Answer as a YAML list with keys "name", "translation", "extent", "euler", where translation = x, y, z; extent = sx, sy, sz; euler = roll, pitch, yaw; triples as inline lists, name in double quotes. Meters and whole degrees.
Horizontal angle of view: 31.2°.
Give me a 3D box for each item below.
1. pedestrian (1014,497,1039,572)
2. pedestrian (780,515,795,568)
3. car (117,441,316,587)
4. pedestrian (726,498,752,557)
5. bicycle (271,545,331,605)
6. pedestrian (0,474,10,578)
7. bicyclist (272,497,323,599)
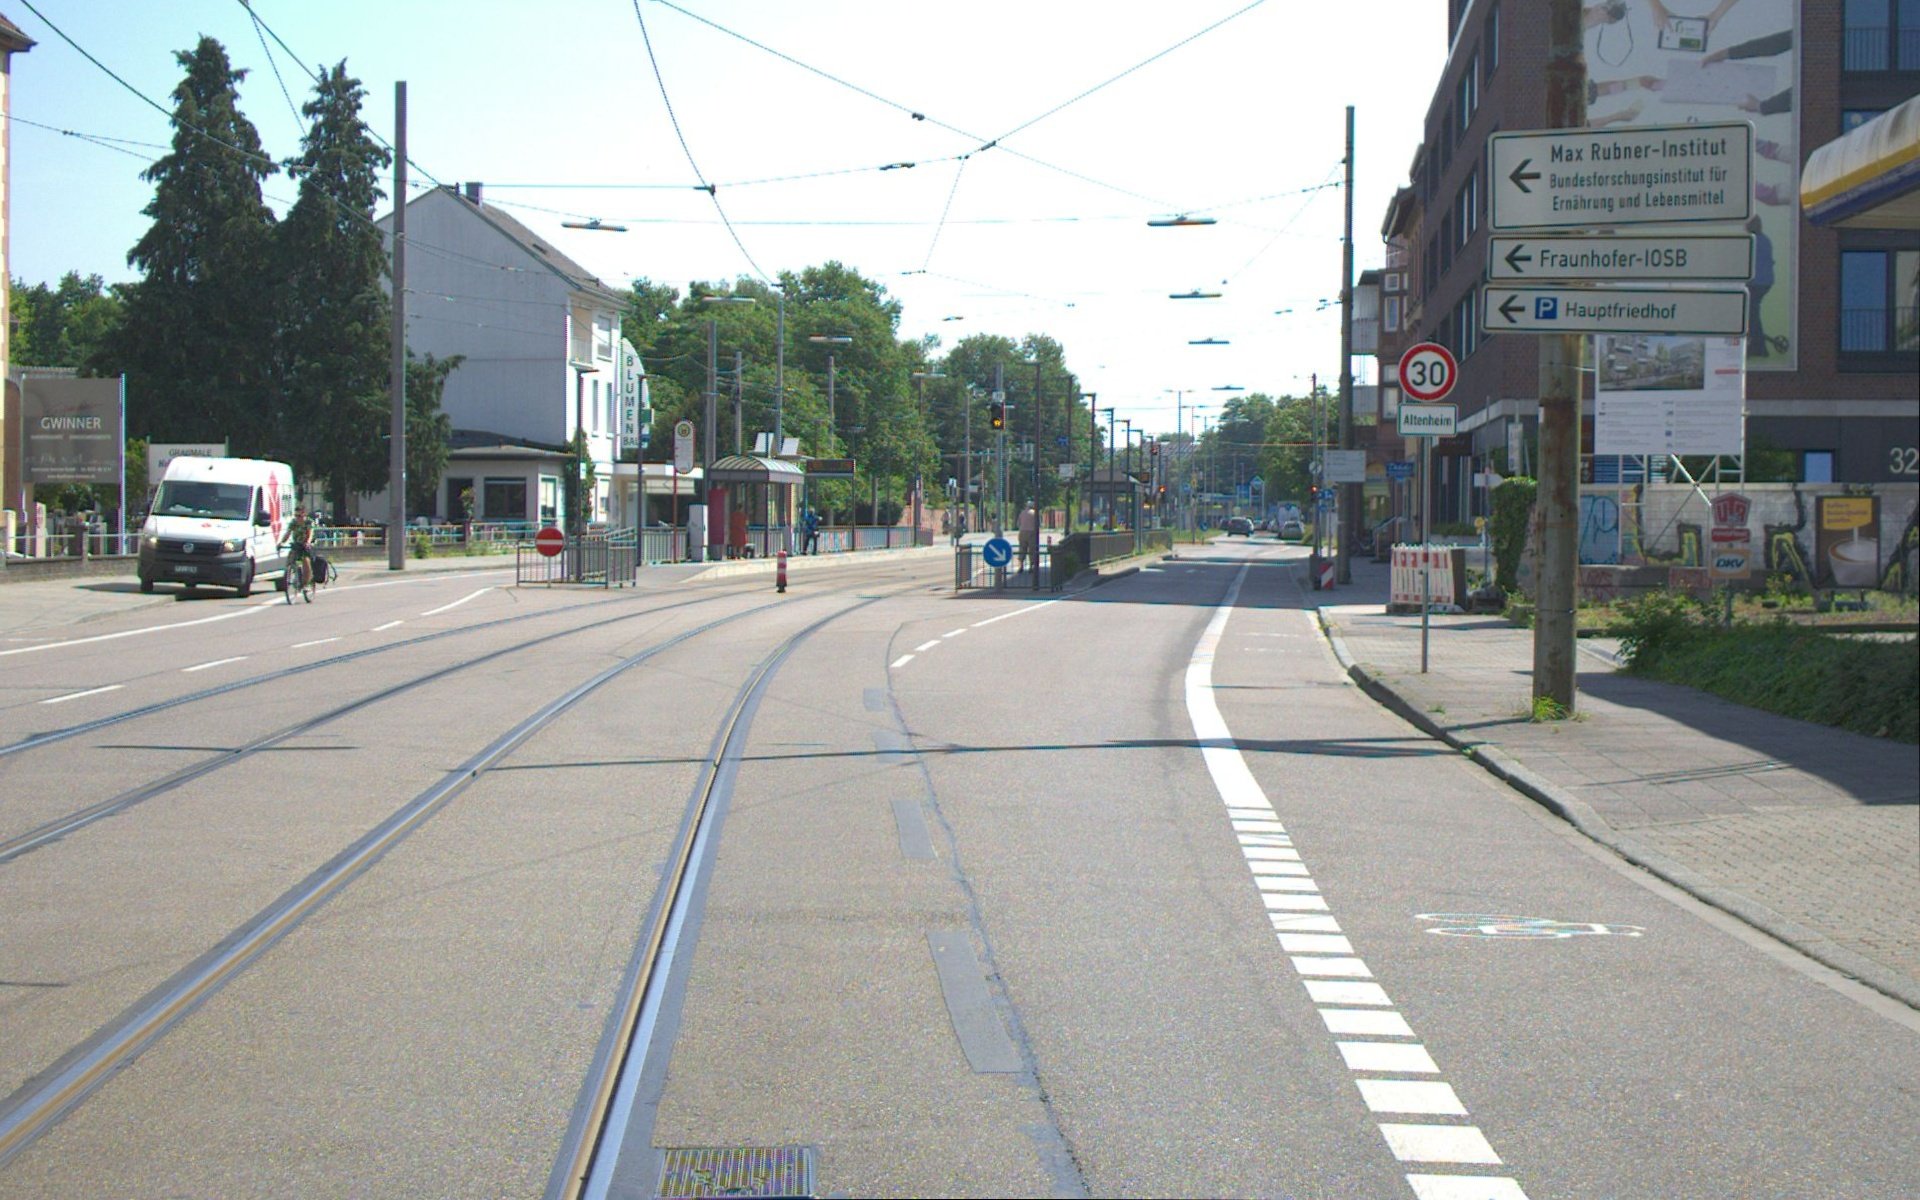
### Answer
- name: "pedestrian"
  translation: [1.554, -1.546, 80.709]
  extent: [0.556, 1.754, 0.793]
  euler: [0, 1, 0]
- name: "pedestrian"
  translation: [-5.498, -1.872, 109.545]
  extent: [0.415, 1.684, 0.708]
  euler: [1, 1, -8]
- name: "car"
  translation: [-14.010, -1.619, 65.185]
  extent: [2.329, 2.527, 6.507]
  euler: [3, 1, -1]
- name: "pedestrian"
  translation: [-6.348, -2.091, 98.699]
  extent: [0.705, 1.684, 0.416]
  euler: [1, 1, -2]
- name: "bicycle"
  translation: [-11.277, -0.433, 58.897]
  extent: [0.608, 0.980, 2.164]
  euler: [1, 1, 0]
- name: "pedestrian"
  translation: [-17.211, -1.289, 59.792]
  extent: [0.942, 1.809, 1.130]
  euler: [1, 1, 8]
- name: "bicyclist"
  translation: [-11.353, -0.894, 58.966]
  extent: [0.716, 1.718, 0.988]
  euler: [1, 1, -2]
